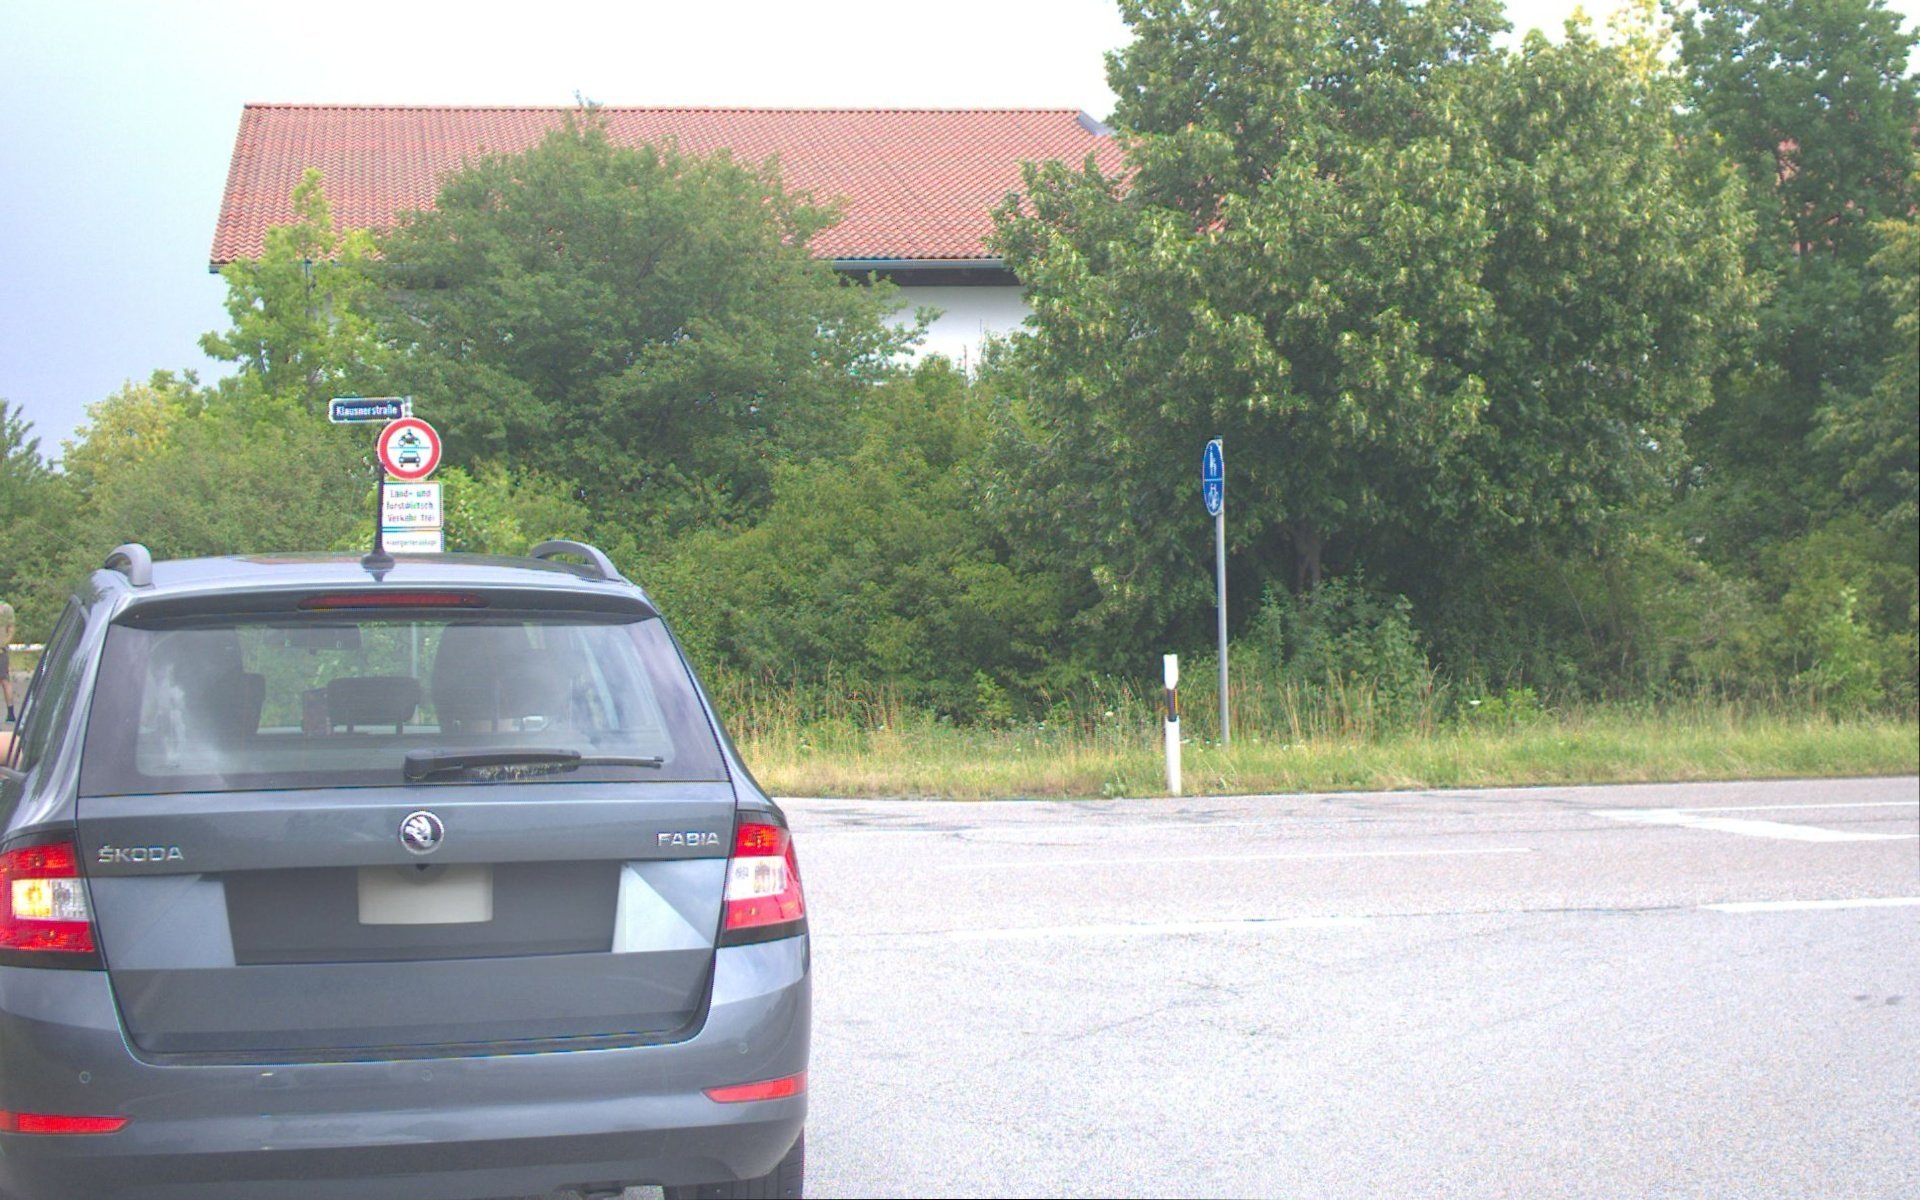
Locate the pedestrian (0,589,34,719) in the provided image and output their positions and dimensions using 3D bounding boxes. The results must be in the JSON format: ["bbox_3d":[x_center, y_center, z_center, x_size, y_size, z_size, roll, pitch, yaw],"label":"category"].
[{"bbox_3d":[-12.608,0.704,45.193,0.584,1.677,0.565,-1,2,17],"label":"pedestrian"}]

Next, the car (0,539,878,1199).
[{"bbox_3d":[-1.470,0.604,7.693,1.676,1.457,3.709,0,1,-16],"label":"car"}]
